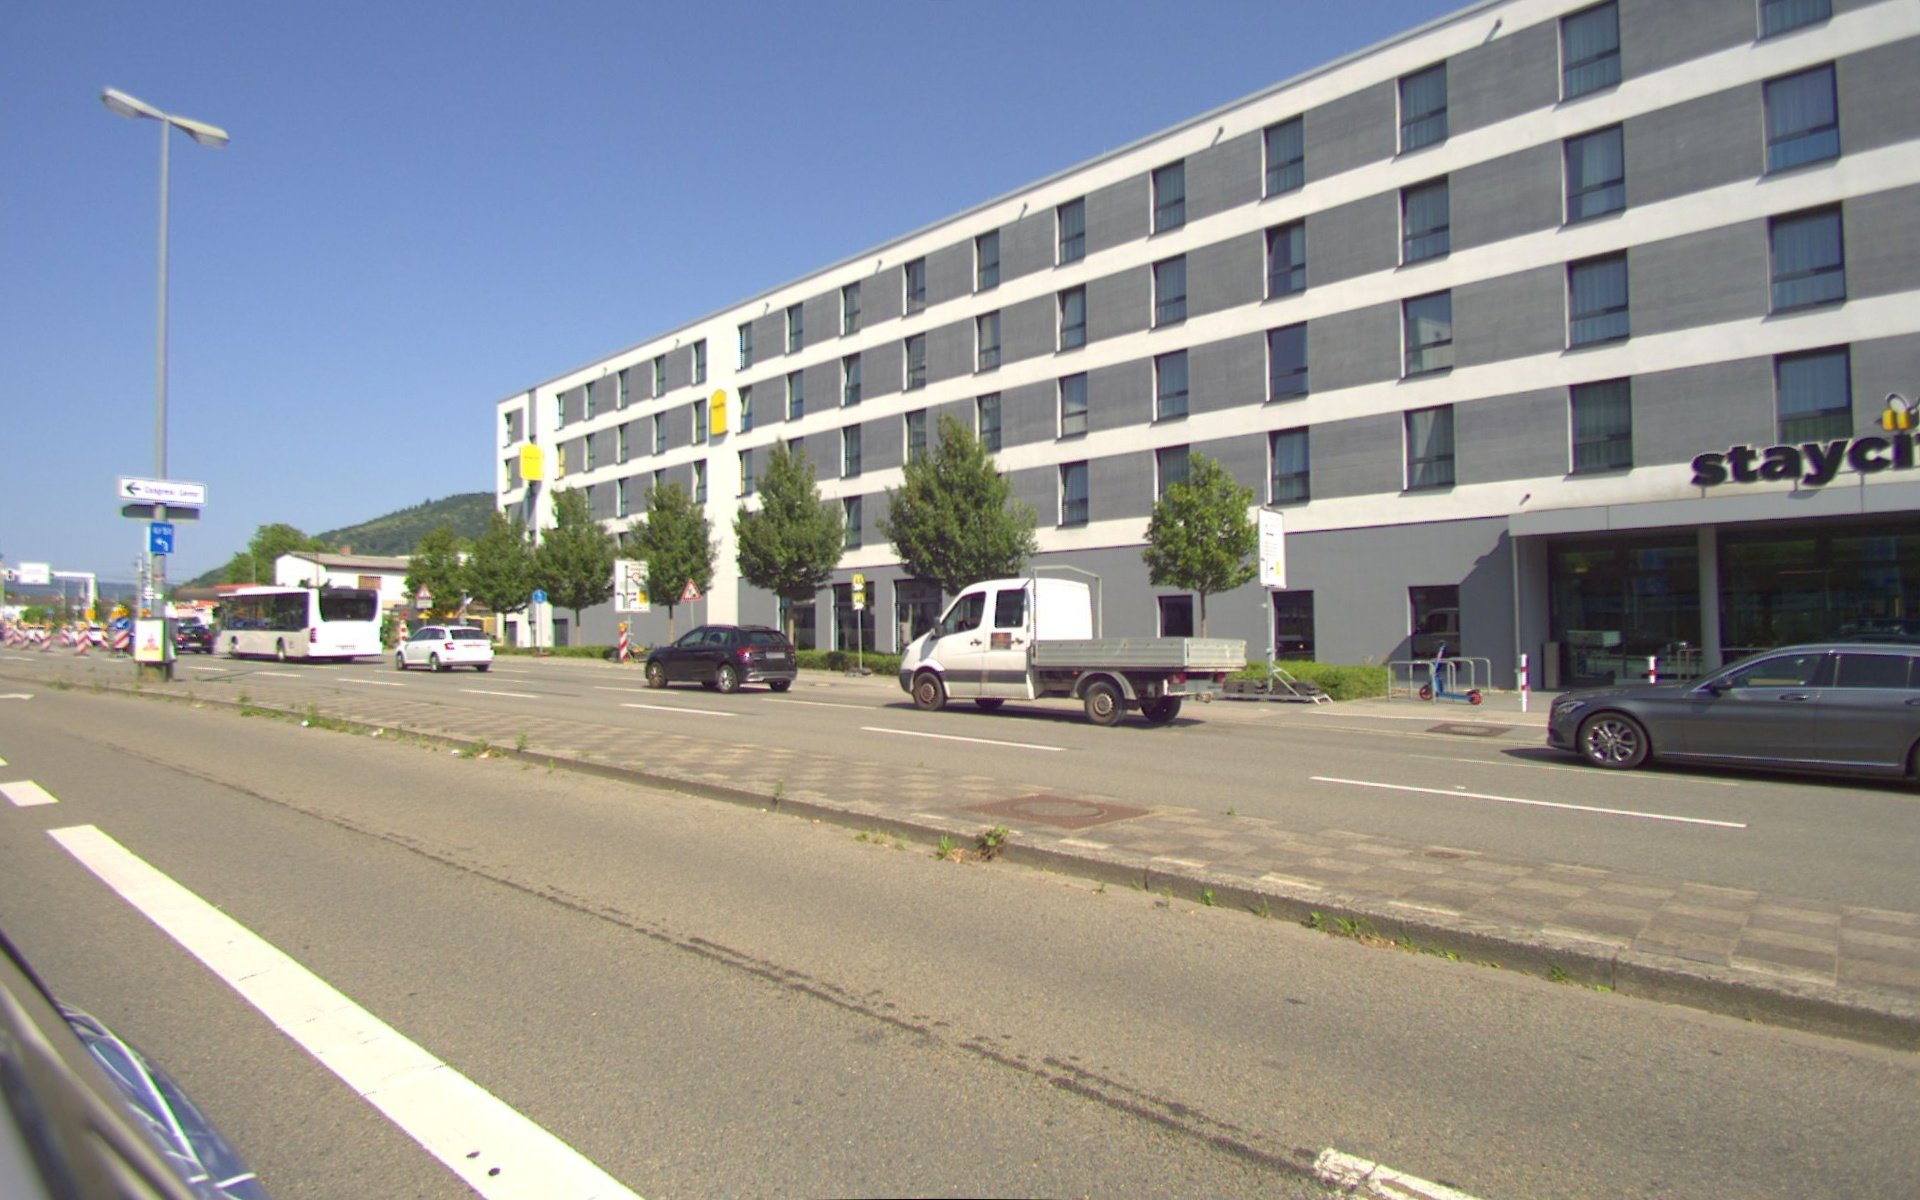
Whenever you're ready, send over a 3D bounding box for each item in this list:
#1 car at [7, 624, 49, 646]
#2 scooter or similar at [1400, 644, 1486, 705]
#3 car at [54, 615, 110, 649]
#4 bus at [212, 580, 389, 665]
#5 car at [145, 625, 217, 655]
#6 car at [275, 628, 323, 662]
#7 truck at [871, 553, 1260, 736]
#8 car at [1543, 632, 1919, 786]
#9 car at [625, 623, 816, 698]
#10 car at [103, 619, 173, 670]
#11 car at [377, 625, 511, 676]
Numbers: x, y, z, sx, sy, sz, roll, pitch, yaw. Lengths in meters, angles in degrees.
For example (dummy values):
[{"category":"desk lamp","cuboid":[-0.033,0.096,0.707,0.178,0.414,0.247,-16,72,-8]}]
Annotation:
[{"category":"car","cuboid":[-72.300,2.701,78.480,3.584,1.631,1.699,-1,-1,36]},{"category":"scooter or similar","cuboid":[9.647,1.466,20.238,1.518,1.121,0.347,0,-1,44]},{"category":"car","cuboid":[-59.084,2.186,68.096,3.993,2.029,1.975,-5,-6,37]},{"category":"bus","cuboid":[-27.444,0.985,41.762,11.966,3.102,2.710,-1,-4,40]},{"category":"car","cuboid":[-39.774,1.992,51.632,4.887,1.443,1.973,-1,-2,40]},{"category":"car","cuboid":[-25.558,1.719,39.118,2.219,1.216,1.044,0,0,42]},{"category":"truck","cuboid":[1.557,0.719,17.214,6.435,2.564,2.332,-1,-4,42]},{"category":"car","cuboid":[9.069,1.105,10.863,4.584,1.438,1.934,-1,-4,42]},{"category":"car","cuboid":[-5.653,1.360,23.721,4.405,1.590,1.975,-1,-3,37]},{"category":"car","cuboid":[-35.579,1.864,43.751,4.162,2.029,1.658,0,0,41]},{"category":"car","cuboid":[-16.639,1.615,32.578,4.403,1.497,1.976,0,-4,36]}]
